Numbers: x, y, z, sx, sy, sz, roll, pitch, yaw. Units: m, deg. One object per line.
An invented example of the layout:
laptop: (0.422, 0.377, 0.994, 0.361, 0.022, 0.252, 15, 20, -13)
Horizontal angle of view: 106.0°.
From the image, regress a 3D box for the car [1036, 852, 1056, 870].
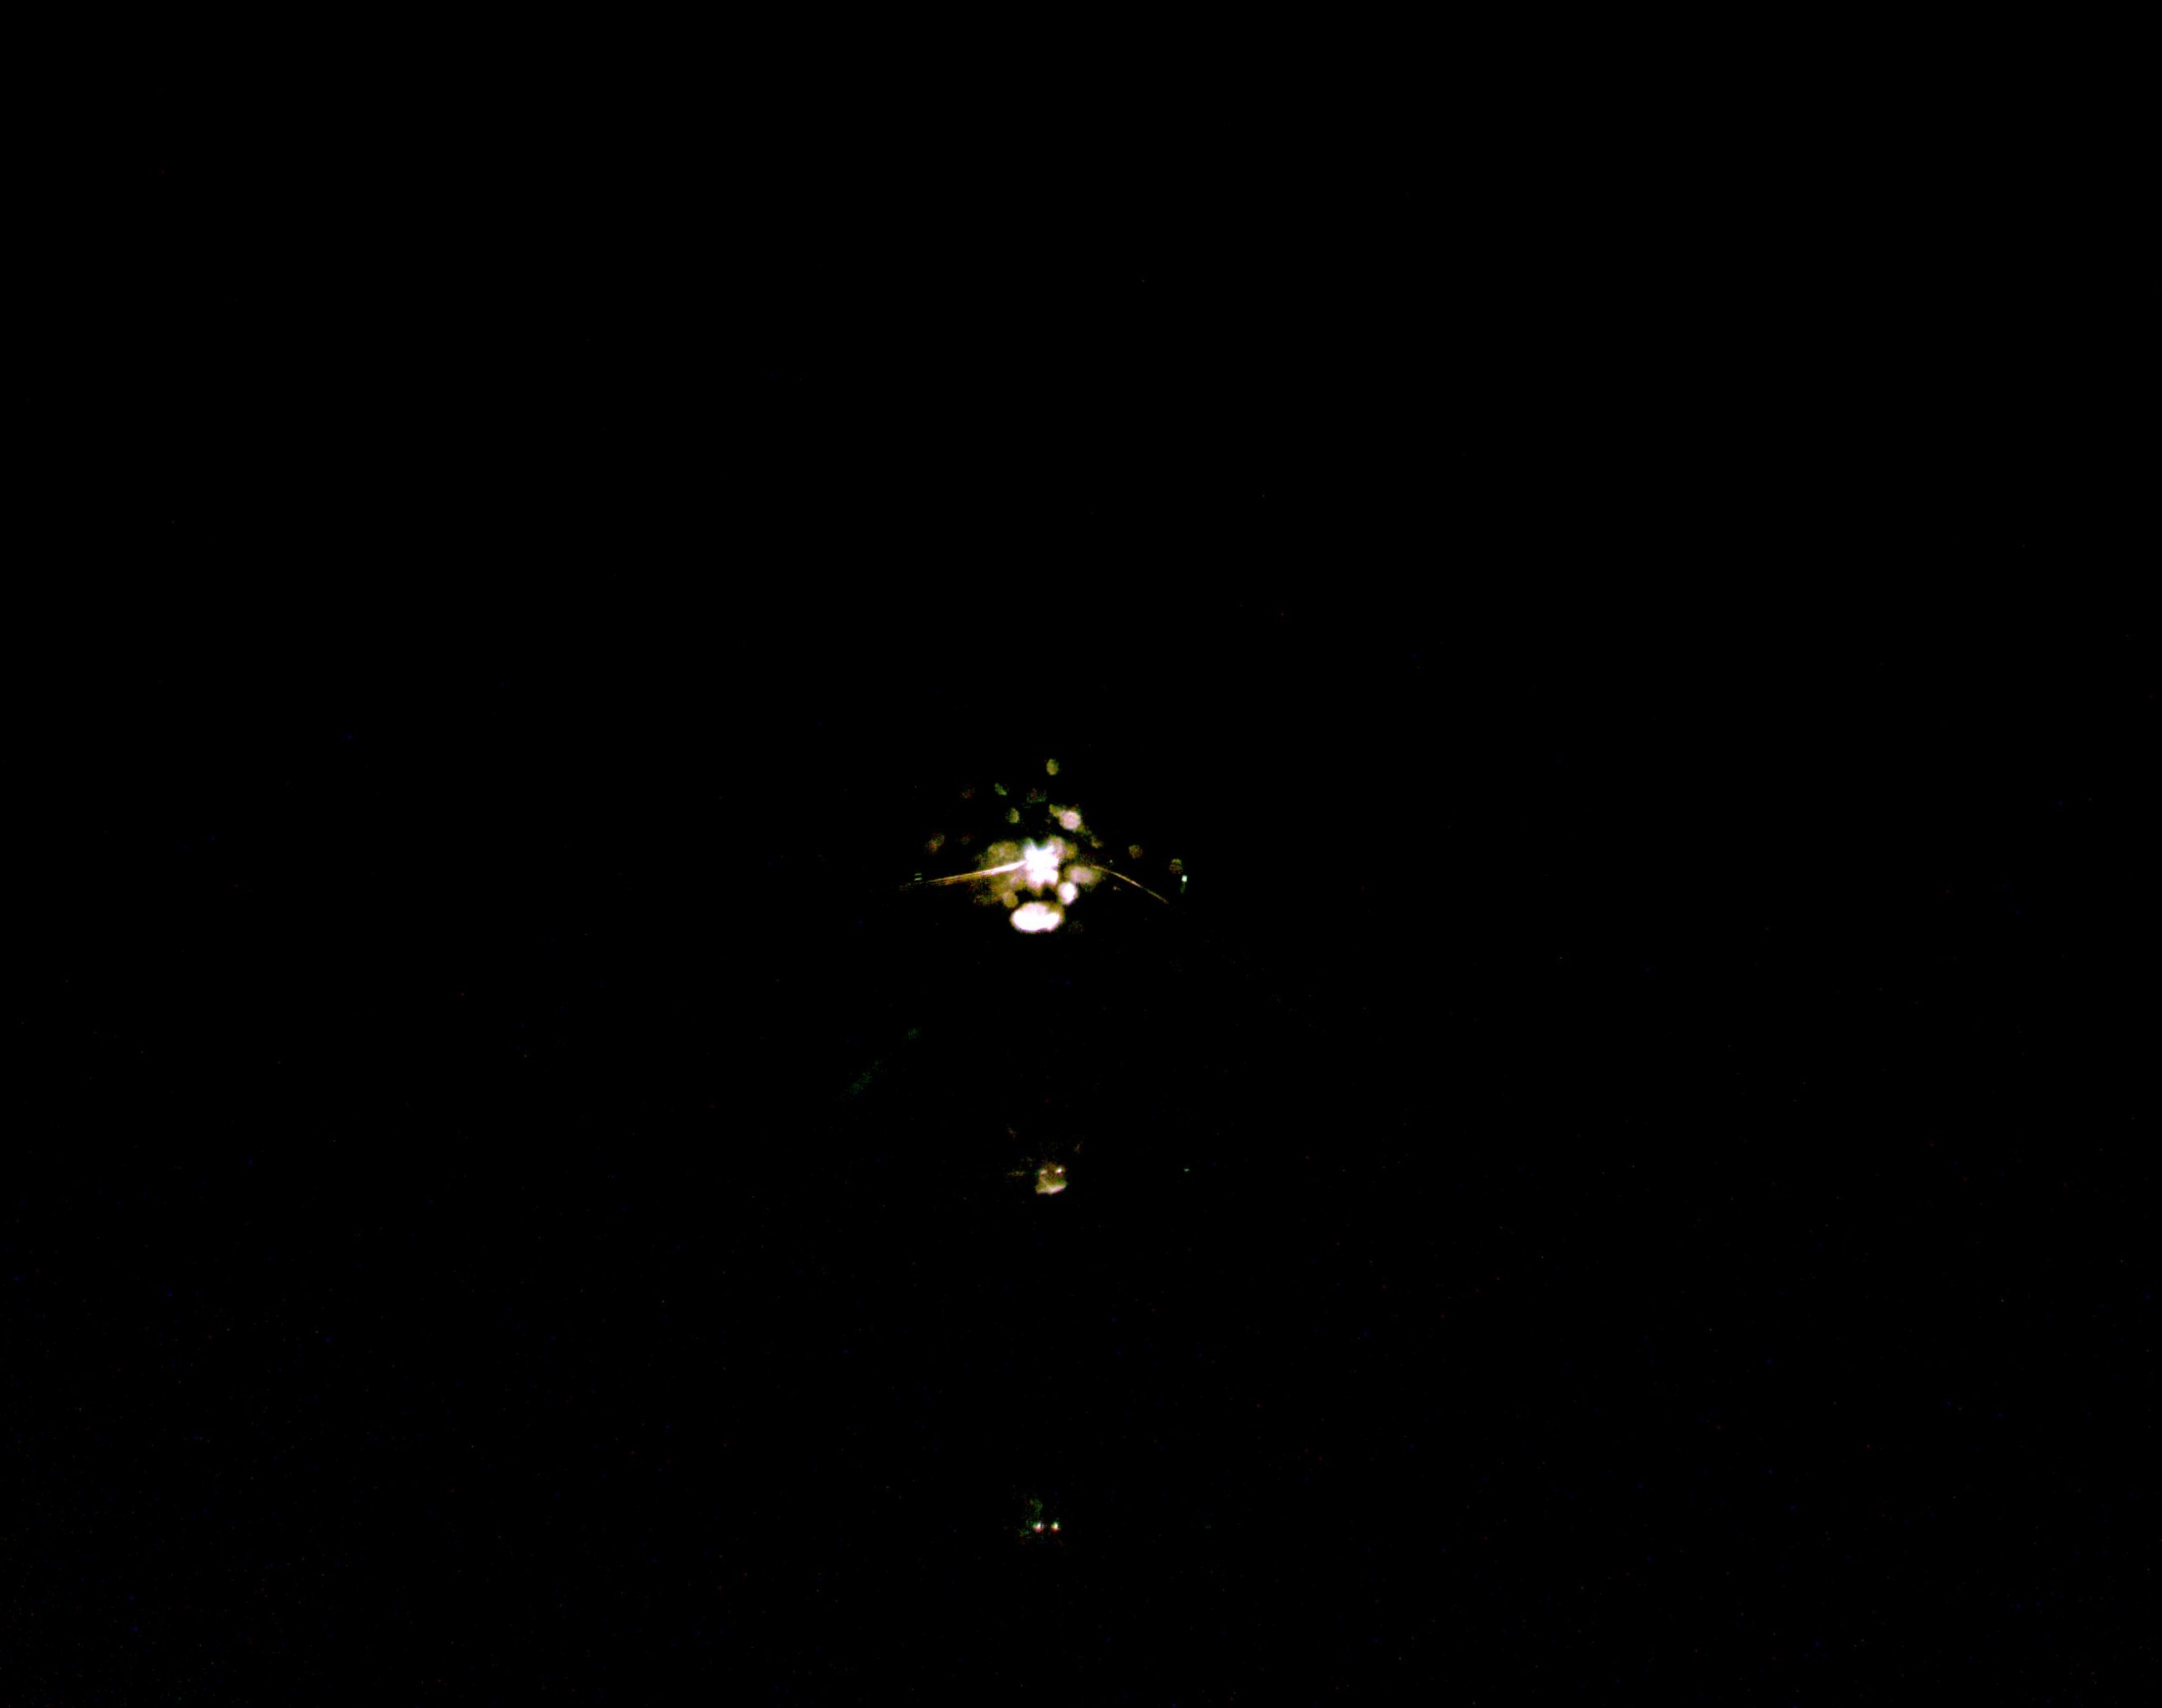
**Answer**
car: (-3.379, 0.659, 78.672, 1.766, 1.675, 4.052, 0, 0, -1)
